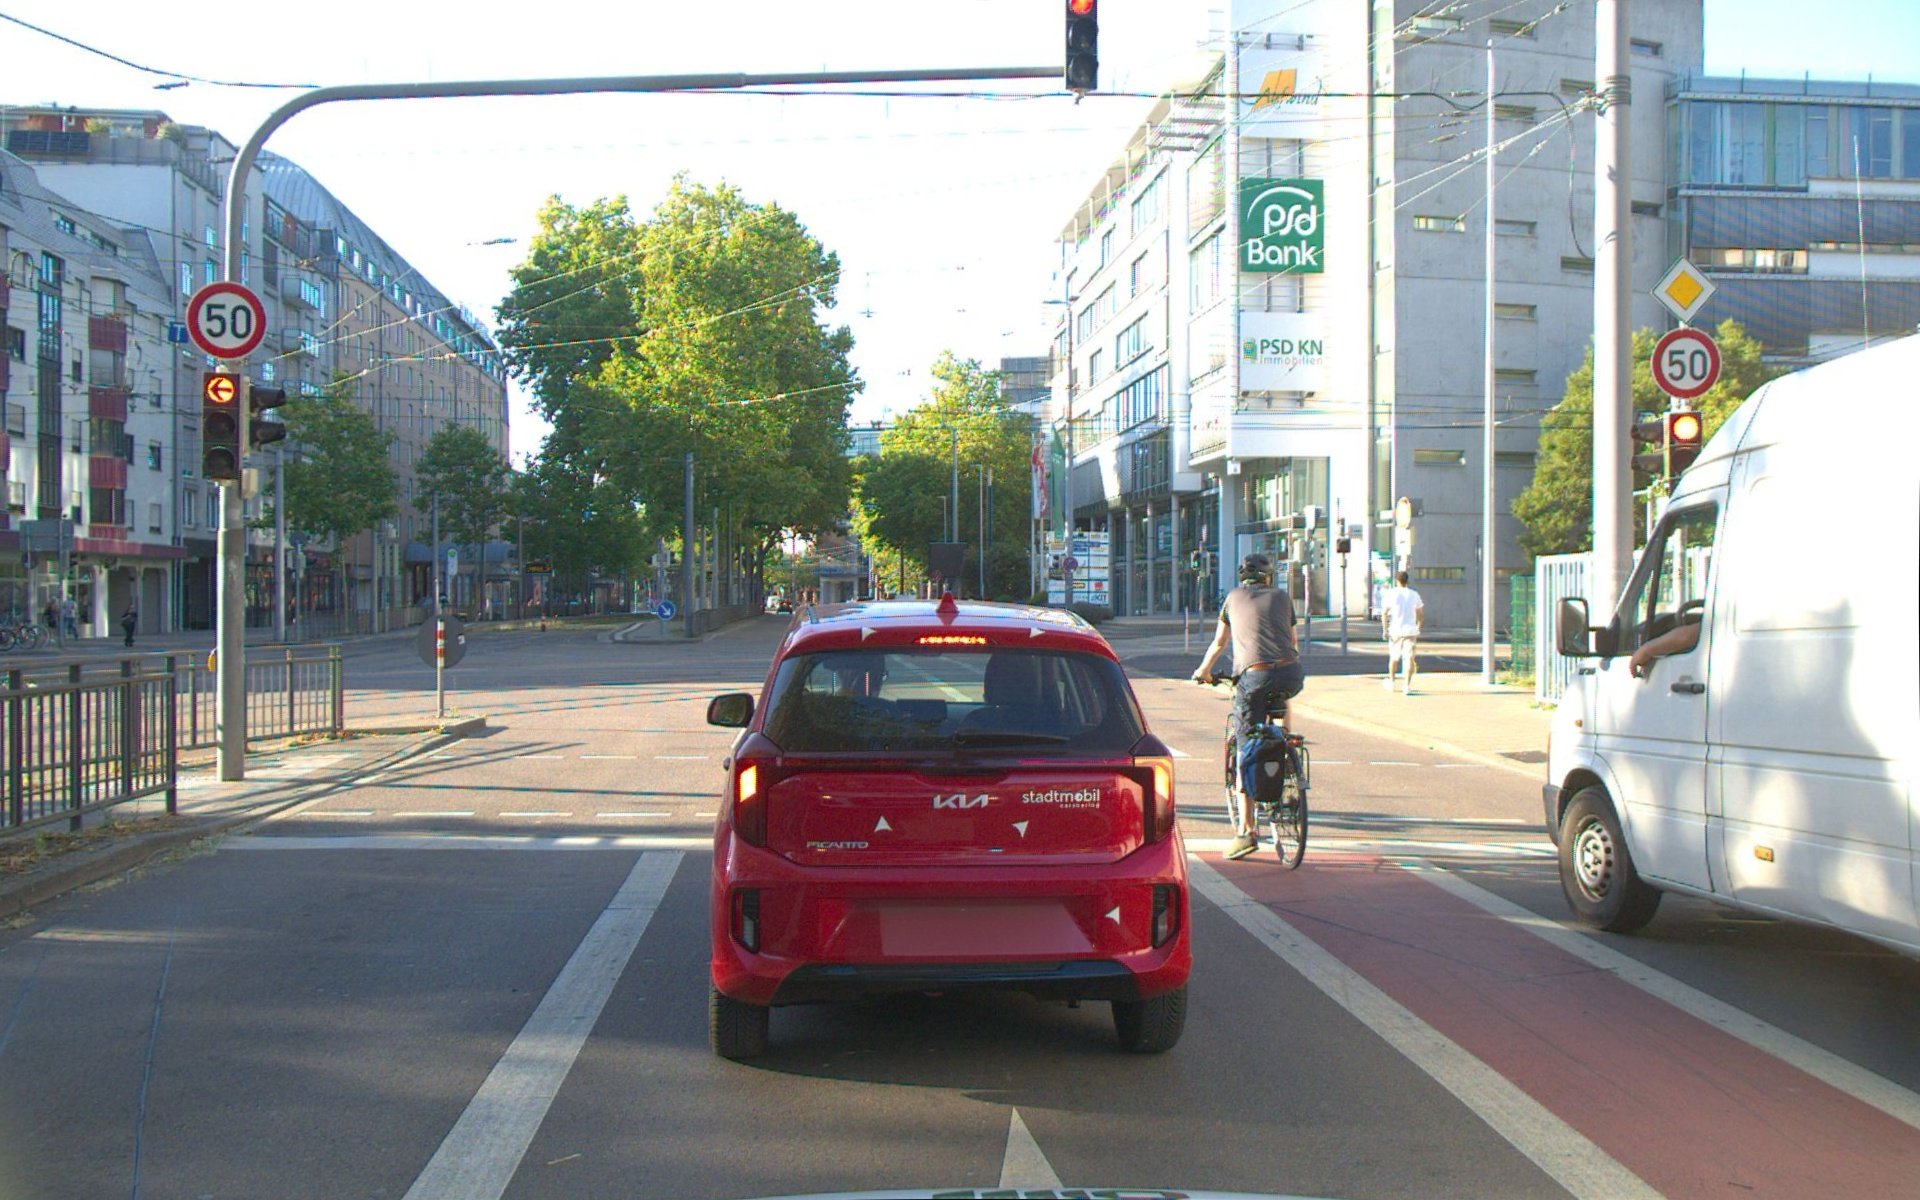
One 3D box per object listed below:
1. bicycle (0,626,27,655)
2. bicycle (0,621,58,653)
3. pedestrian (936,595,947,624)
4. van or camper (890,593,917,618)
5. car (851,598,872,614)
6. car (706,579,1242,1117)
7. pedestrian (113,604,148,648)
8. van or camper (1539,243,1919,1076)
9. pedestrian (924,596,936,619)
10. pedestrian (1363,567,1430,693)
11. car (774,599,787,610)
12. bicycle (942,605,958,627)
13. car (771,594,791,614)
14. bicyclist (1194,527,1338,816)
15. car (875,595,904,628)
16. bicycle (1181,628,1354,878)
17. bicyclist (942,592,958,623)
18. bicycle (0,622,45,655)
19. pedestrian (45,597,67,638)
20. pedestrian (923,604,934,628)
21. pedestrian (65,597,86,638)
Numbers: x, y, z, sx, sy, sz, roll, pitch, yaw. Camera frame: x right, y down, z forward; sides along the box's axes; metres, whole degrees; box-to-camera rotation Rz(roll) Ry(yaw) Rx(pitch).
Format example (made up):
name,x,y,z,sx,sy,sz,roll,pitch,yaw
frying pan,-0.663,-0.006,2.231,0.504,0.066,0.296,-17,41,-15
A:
name,x,y,z,sx,sy,sz,roll,pitch,yaw
bicycle,-29.451,1.246,50.280,1.806,0.869,0.553,0,0,-4
bicycle,-29.544,1.169,52.160,1.808,1.002,0.552,0,0,-8
pedestrian,-1.098,0.553,97.443,0.633,1.710,0.651,0,0,-4
van or camper,-4.544,0.438,132.216,1.954,2.024,4.740,0,0,-4
car,-10.086,0.638,168.880,1.745,1.561,3.504,0,0,-10
car,-0.101,0.720,6.578,1.582,1.561,3.408,0,0,-5
pedestrian,-29.681,0.918,59.164,1.027,1.571,0.693,-1,0,32
van or camper,4.157,0.202,5.428,1.930,2.763,6.300,1,0,-4
pedestrian,-2.335,0.544,129.080,0.873,1.783,0.841,0,0,-1
pedestrian,6.592,0.436,25.031,0.761,1.855,1.216,0,0,5
car,-27.783,0.669,255.399,1.745,1.561,3.403,0,0,-10
bicycle,-0.542,0.879,90.331,0.683,1.117,1.749,-4,1,-5
car,-18.980,0.443,175.183,1.956,2.049,3.992,0,0,-8
bicyclist,1.811,0.403,9.908,0.637,1.631,1.088,0,0,-1
car,-4.006,0.619,93.580,1.603,1.831,3.327,0,0,-3
bicycle,1.793,0.844,9.931,0.637,1.303,1.965,0,0,-1
bicyclist,-0.565,0.396,90.277,0.708,1.631,1.087,-3,0,-6
bicycle,-29.601,1.205,51.544,1.808,1.002,0.552,0,0,-8
pedestrian,-33.893,0.650,62.027,0.524,1.520,0.586,0,0,-9
pedestrian,-2.170,1.084,114.823,0.628,1.607,0.724,-4,0,3
pedestrian,-33.236,0.662,62.147,0.524,1.520,0.586,0,0,-9
